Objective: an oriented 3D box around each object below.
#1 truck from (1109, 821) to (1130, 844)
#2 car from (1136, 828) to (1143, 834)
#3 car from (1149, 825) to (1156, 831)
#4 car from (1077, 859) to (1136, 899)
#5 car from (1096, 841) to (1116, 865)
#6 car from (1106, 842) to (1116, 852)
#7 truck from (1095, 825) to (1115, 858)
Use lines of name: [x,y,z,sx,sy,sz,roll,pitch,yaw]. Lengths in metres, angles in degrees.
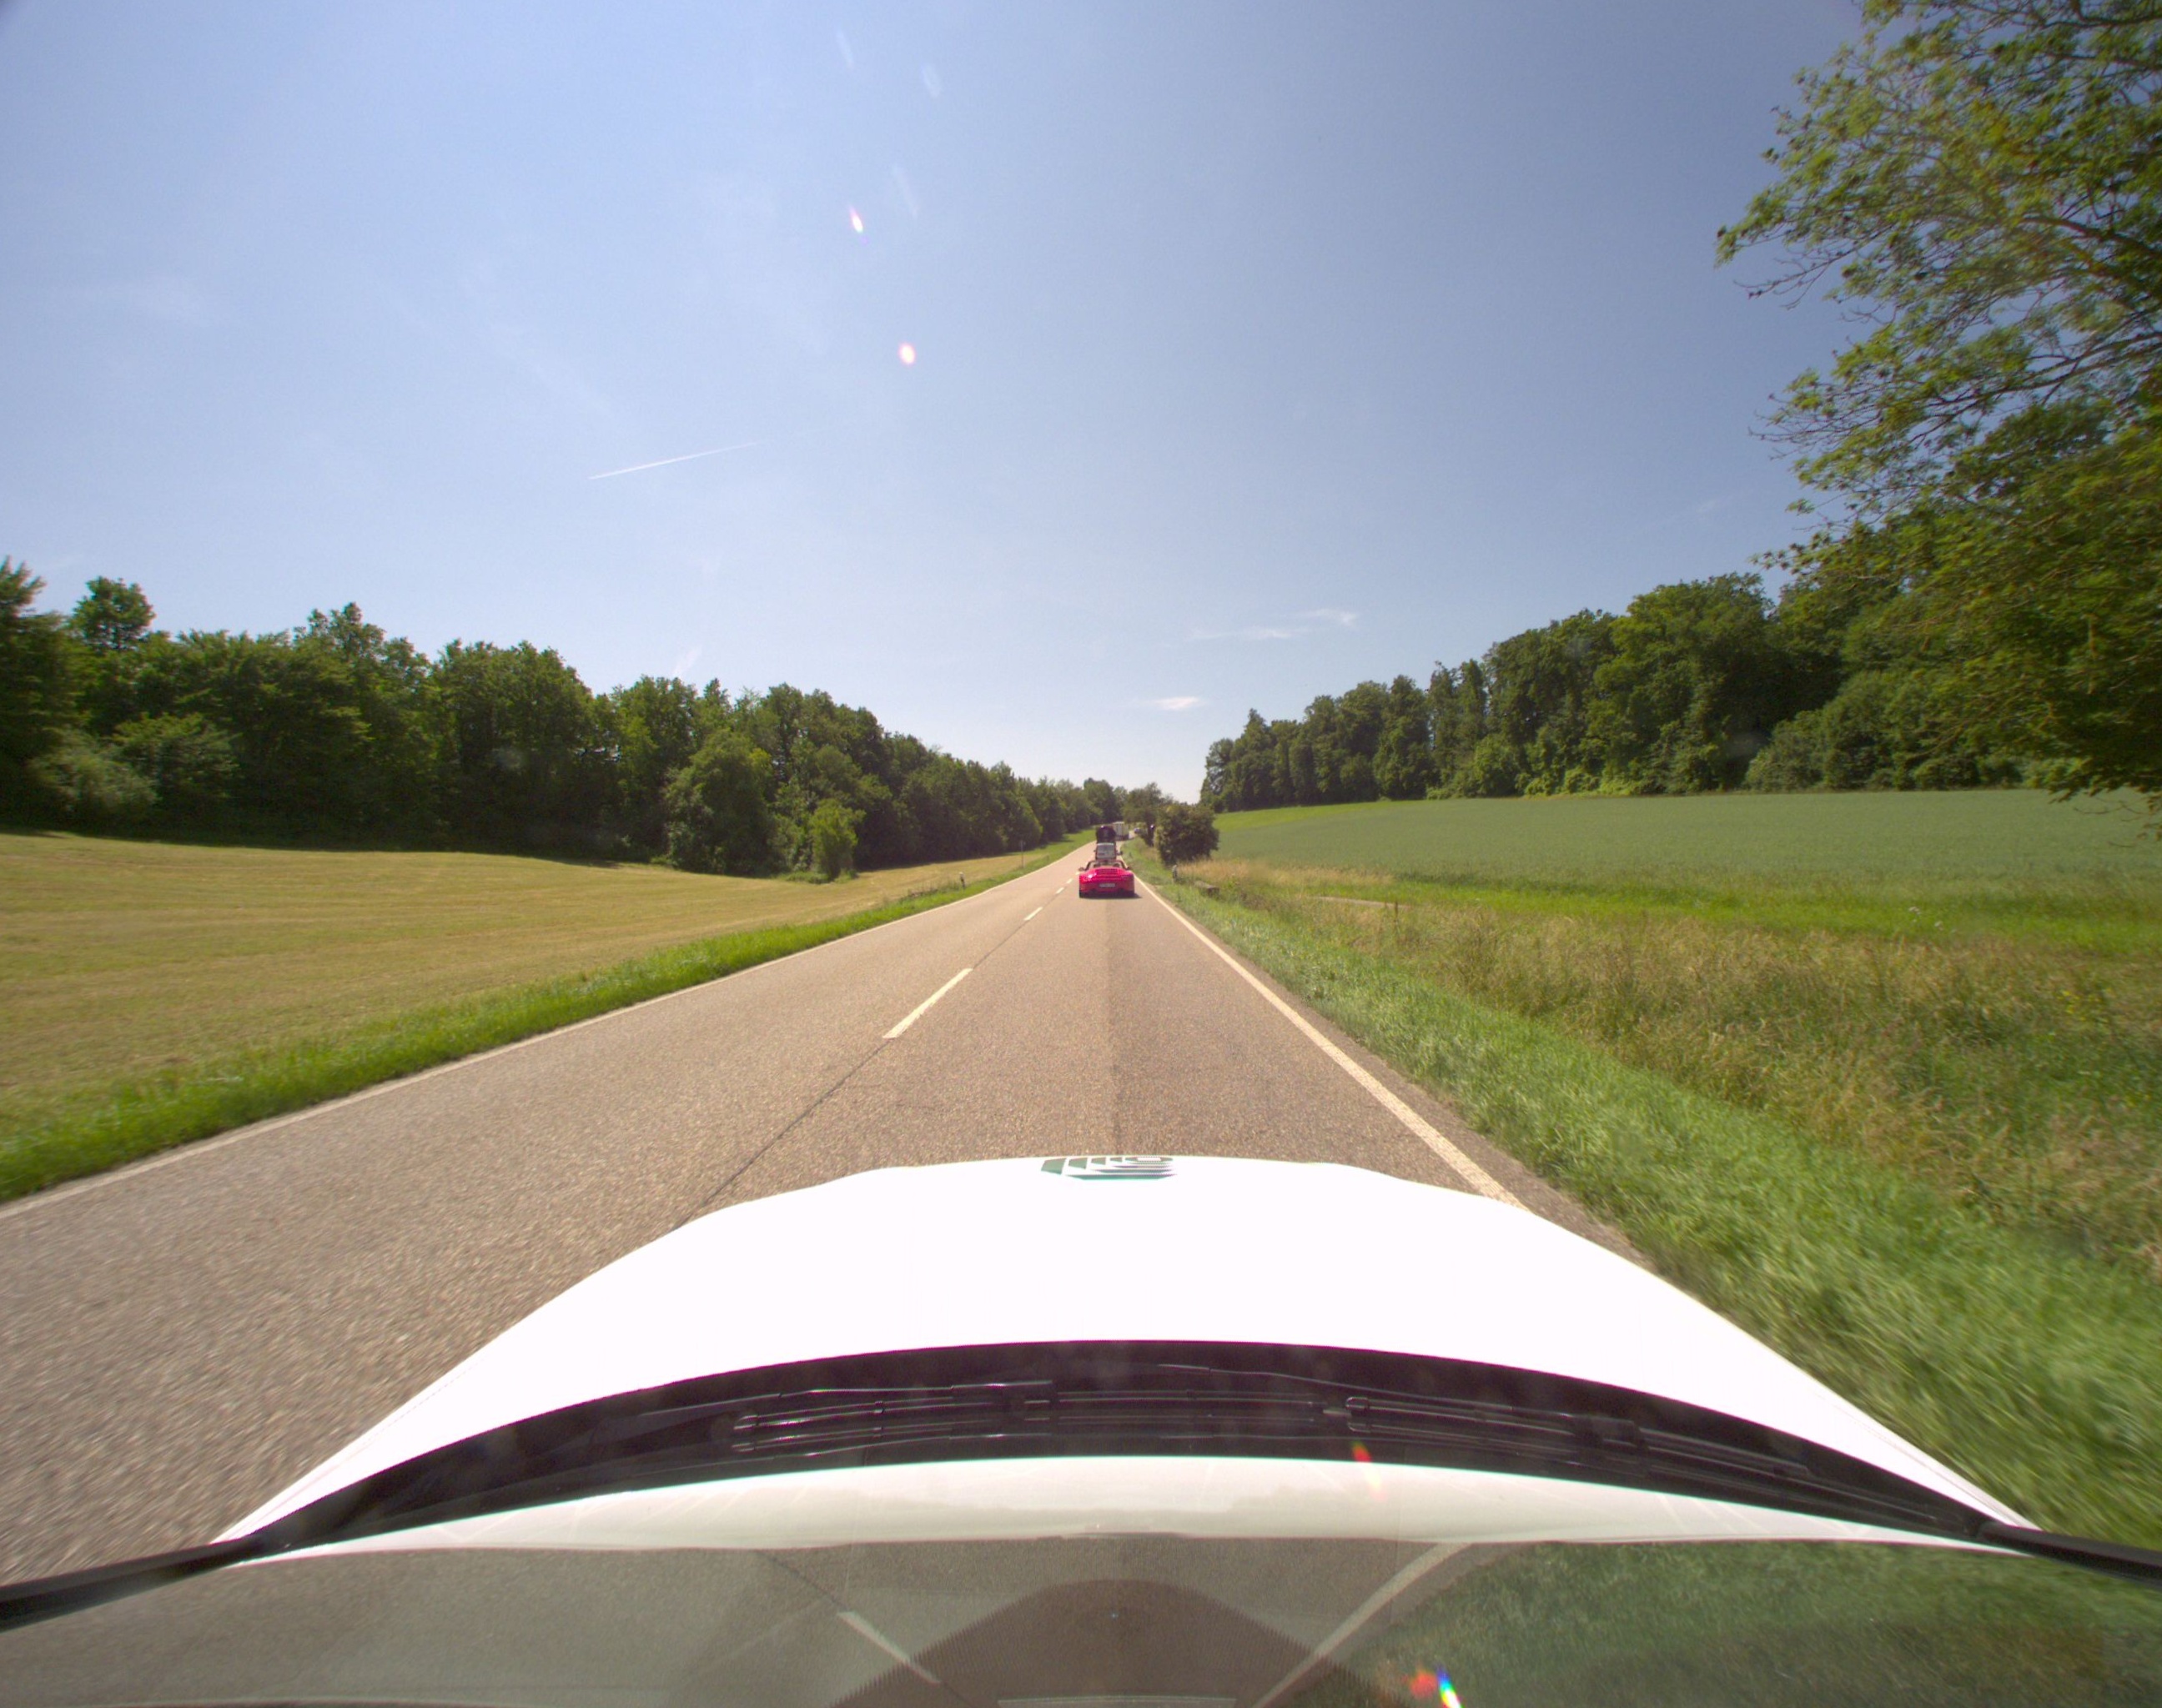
truck: [8.963,-5.106,189.075,3.704,4.659,12.061,-2,3,8]
car: [16.120,-6.368,225.662,1.691,1.496,3.715,-4,3,2]
car: [22.131,-8.034,251.185,1.688,1.496,3.721,-4,4,8]
car: [0.893,0.810,28.360,1.875,1.255,4.011,-1,0,2]
car: [2.218,-0.106,72.456,1.672,1.900,4.012,-2,2,2]
car: [5.596,-1.301,151.317,1.824,1.513,4.193,-3,2,1]
truck: [3.129,-1.716,109.207,2.395,4.049,12.553,-2,1,1]
